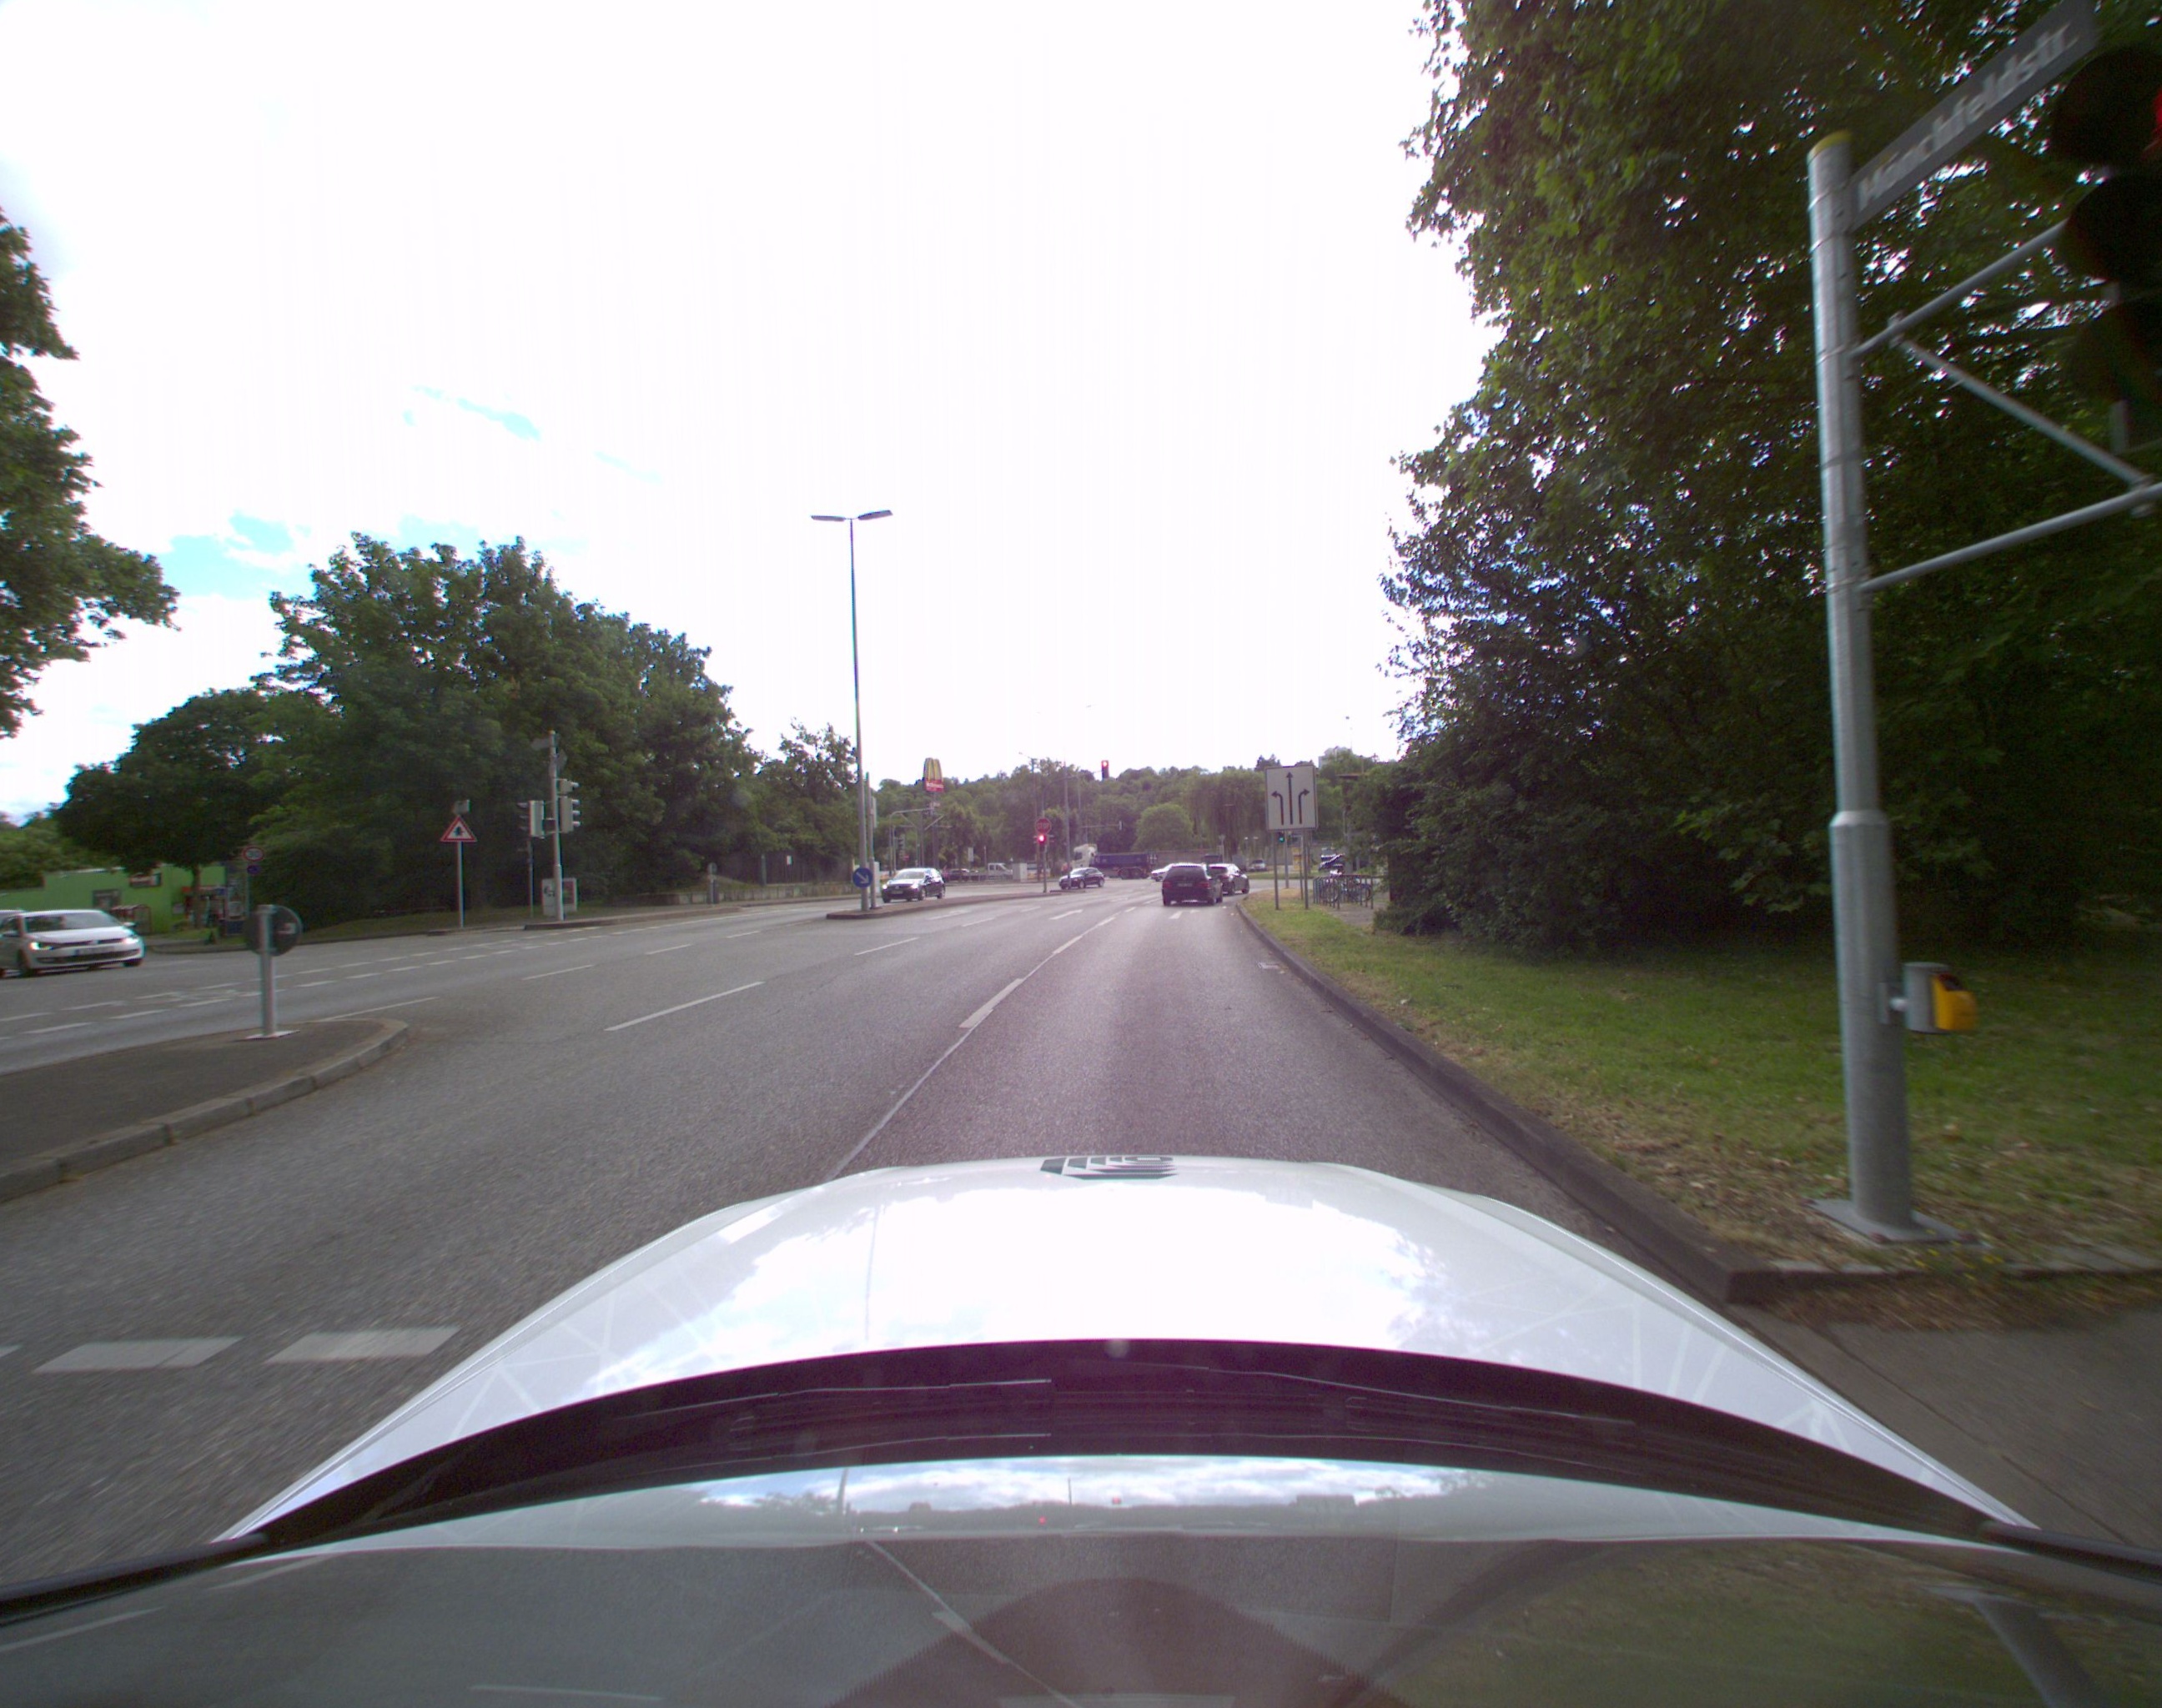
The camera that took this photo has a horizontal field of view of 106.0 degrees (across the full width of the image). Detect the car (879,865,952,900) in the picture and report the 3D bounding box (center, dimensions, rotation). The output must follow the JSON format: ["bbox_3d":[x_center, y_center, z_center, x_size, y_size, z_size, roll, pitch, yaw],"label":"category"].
[{"bbox_3d":[-7.106,1.210,35.418,1.667,1.366,4.321,-2,-1,8],"label":"car"}]

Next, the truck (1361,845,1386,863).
[{"bbox_3d":[37.140,0.052,103.561,2.219,2.014,5.258,-3,-2,13],"label":"truck"}]

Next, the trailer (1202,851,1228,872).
[{"bbox_3d":[17.224,0.976,104.215,2.332,2.582,4.944,-4,-2,19],"label":"trailer"}]

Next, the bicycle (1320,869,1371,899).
[{"bbox_3d":[10.154,1.159,31.284,1.766,1.111,0.555,-2,-2,12],"label":"bicycle"}]

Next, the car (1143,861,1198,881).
[{"bbox_3d":[7.289,1.406,66.141,4.307,1.405,1.589,-2,-1,-32],"label":"car"}]

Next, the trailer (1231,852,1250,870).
[{"bbox_3d":[20.709,0.943,105.396,1.979,2.184,4.016,-3,-2,15],"label":"trailer"}]

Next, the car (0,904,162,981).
[{"bbox_3d":[-23.134,1.975,18.654,3.806,1.479,1.837,-3,-1,27],"label":"car"}]

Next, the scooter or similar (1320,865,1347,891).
[{"bbox_3d":[12.027,1.139,38.862,1.171,1.169,0.295,-3,-1,19],"label":"scooter or similar"}]

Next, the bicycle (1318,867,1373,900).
[{"bbox_3d":[9.318,1.036,28.732,1.764,1.111,0.457,-2,-2,17],"label":"bicycle"}]

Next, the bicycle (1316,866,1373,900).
[{"bbox_3d":[9.069,1.017,28.048,1.761,1.111,0.428,-3,-3,30],"label":"bicycle"}]

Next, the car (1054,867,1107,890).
[{"bbox_3d":[-0.011,1.678,57.315,1.600,1.416,3.920,-3,-1,37],"label":"car"}]

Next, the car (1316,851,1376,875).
[{"bbox_3d":[22.351,0.758,68.761,4.519,1.774,1.611,-3,-1,7],"label":"car"}]

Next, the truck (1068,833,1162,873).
[{"bbox_3d":[3.528,-0.032,84.787,9.016,3.588,3.238,-4,-2,25],"label":"truck"}]

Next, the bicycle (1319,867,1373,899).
[{"bbox_3d":[9.541,1.051,29.422,1.766,1.111,0.582,-2,-2,12],"label":"bicycle"}]

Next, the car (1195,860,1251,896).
[{"bbox_3d":[6.933,1.113,39.409,1.712,1.530,4.171,-3,-1,22],"label":"car"}]

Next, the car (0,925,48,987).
[{"bbox_3d":[-30.574,2.848,22.204,4.217,1.546,2.012,-3,-1,25],"label":"car"}]

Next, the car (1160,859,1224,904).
[{"bbox_3d":[4.121,1.012,29.701,1.809,1.509,4.591,-2,-2,14],"label":"car"}]
